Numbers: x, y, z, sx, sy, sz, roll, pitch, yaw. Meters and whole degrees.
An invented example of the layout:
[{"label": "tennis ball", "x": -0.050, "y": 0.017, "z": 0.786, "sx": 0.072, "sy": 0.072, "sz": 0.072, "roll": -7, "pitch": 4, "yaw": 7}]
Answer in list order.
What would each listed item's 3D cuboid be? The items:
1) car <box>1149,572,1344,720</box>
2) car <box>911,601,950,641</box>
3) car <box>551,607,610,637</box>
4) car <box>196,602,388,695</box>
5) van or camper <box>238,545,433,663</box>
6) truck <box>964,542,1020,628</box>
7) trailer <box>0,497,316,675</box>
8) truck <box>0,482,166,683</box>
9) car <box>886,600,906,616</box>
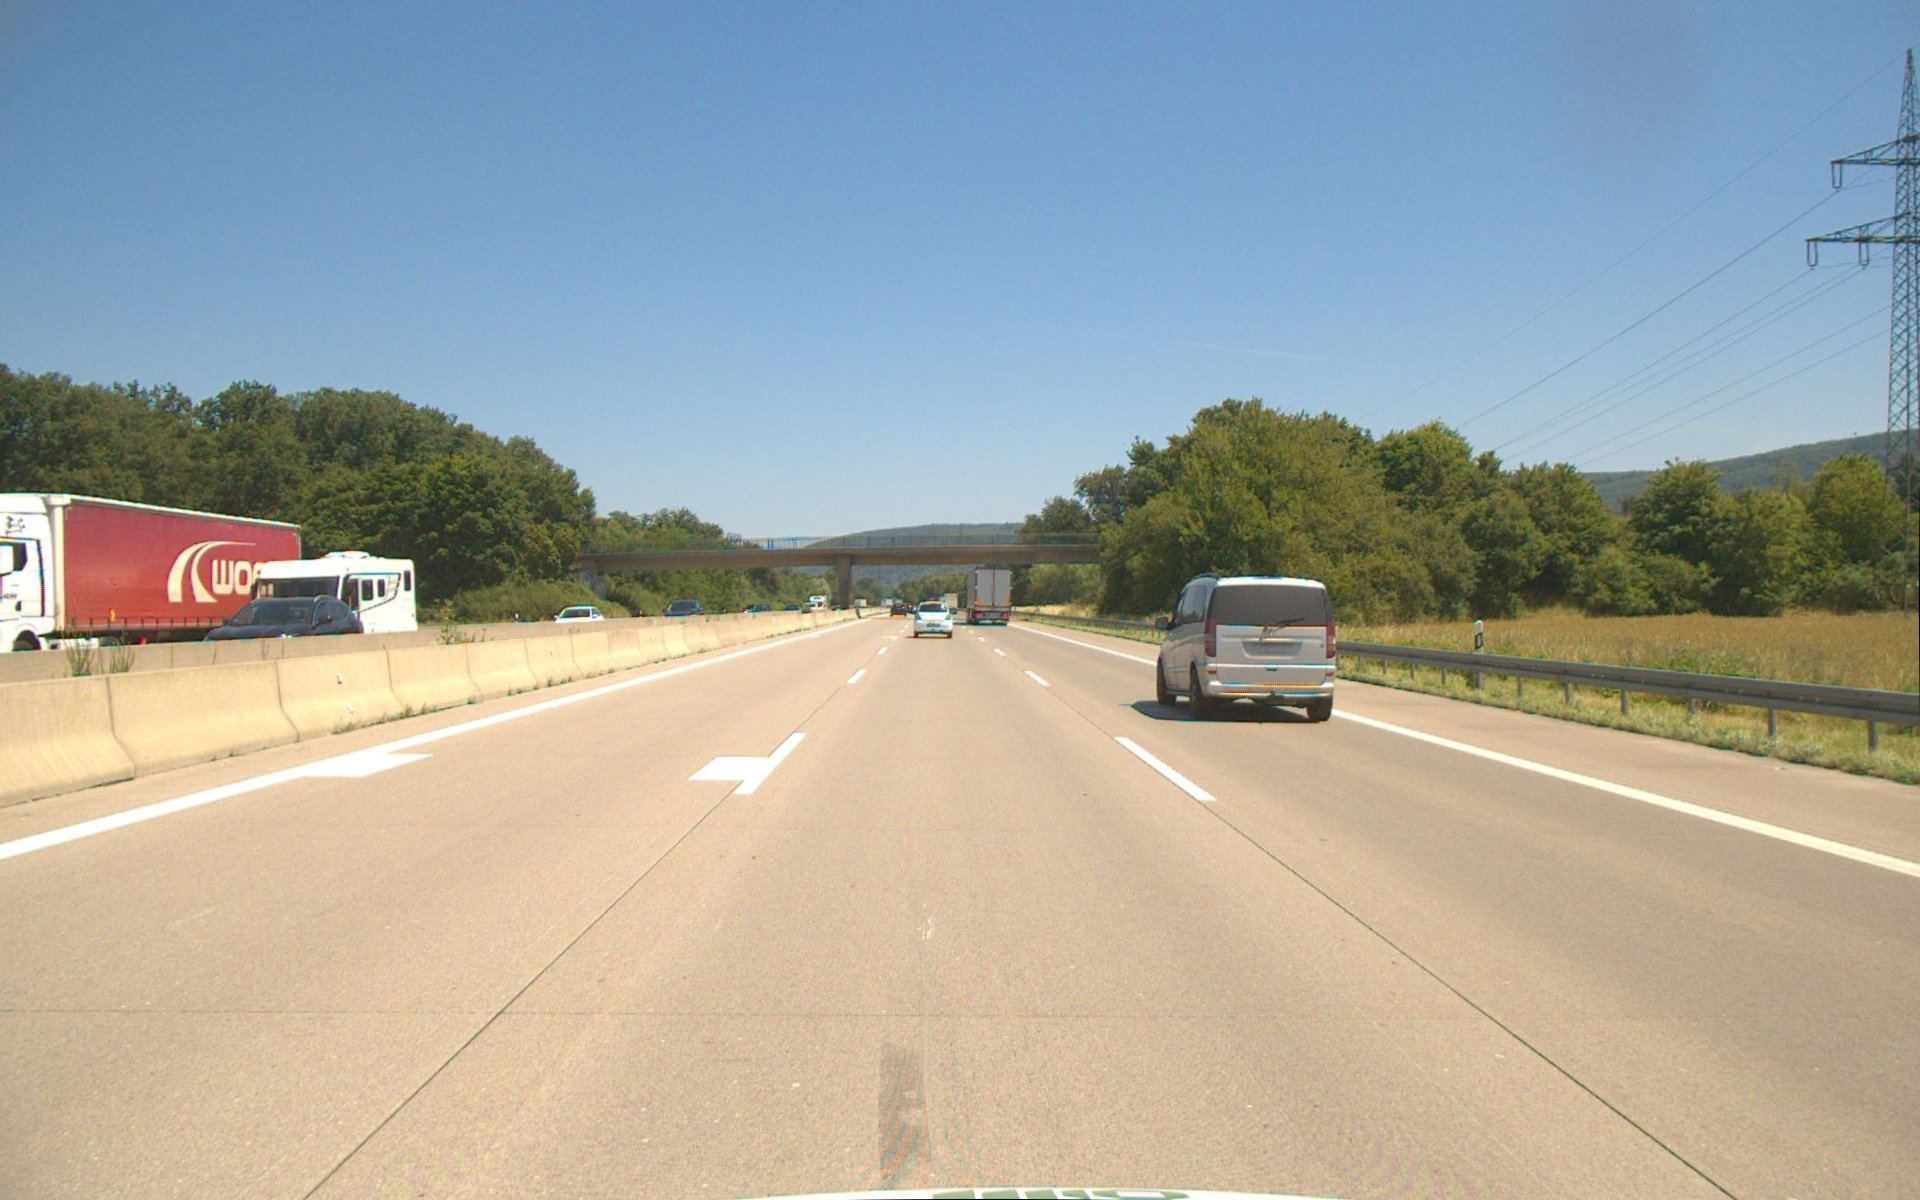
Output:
[{"label": "car", "x": 4.028, "y": 0.597, "z": 24.131, "sx": 1.841, "sy": 1.922, "sz": 5.278, "roll": 0, "pitch": 0, "yaw": -1}, {"label": "car", "x": -1.253, "y": 0.887, "z": 71.235, "sx": 1.608, "sy": 1.691, "sz": 3.359, "roll": 1, "pitch": 0, "yaw": -1}, {"label": "car", "x": -17.392, "y": 0.979, "z": 76.063, "sx": 1.653, "sy": 1.285, "sz": 4.790, "roll": -1, "pitch": 0, "yaw": -1}, {"label": "car", "x": -12.358, "y": 0.840, "z": 30.924, "sx": 1.757, "sy": 1.583, "sz": 4.600, "roll": 0, "pitch": 0, "yaw": -1}, {"label": "van or camper", "x": -17.011, "y": 0.092, "z": 45.681, "sx": 2.474, "sy": 2.940, "sz": 7.936, "roll": 0, "pitch": 0, "yaw": -1}, {"label": "truck", "x": 2.188, "y": -1.032, "z": 122.773, "sx": 3.504, "sy": 5.889, "sz": 18.242, "roll": 0, "pitch": 0, "yaw": -1}, {"label": "trailer", "x": -20.926, "y": -0.340, "z": 43.990, "sx": 2.939, "sy": 4.052, "sz": 12.339, "roll": 0, "pitch": 0, "yaw": -1}, {"label": "truck", "x": -20.846, "y": -0.357, "z": 36.757, "sx": 2.939, "sy": 4.052, "sz": 7.293, "roll": 0, "pitch": 0, "yaw": -1}, {"label": "car", "x": -6.883, "y": 0.861, "z": 178.346, "sx": 1.982, "sy": 1.730, "sz": 3.997, "roll": 2, "pitch": -1, "yaw": -4}]
